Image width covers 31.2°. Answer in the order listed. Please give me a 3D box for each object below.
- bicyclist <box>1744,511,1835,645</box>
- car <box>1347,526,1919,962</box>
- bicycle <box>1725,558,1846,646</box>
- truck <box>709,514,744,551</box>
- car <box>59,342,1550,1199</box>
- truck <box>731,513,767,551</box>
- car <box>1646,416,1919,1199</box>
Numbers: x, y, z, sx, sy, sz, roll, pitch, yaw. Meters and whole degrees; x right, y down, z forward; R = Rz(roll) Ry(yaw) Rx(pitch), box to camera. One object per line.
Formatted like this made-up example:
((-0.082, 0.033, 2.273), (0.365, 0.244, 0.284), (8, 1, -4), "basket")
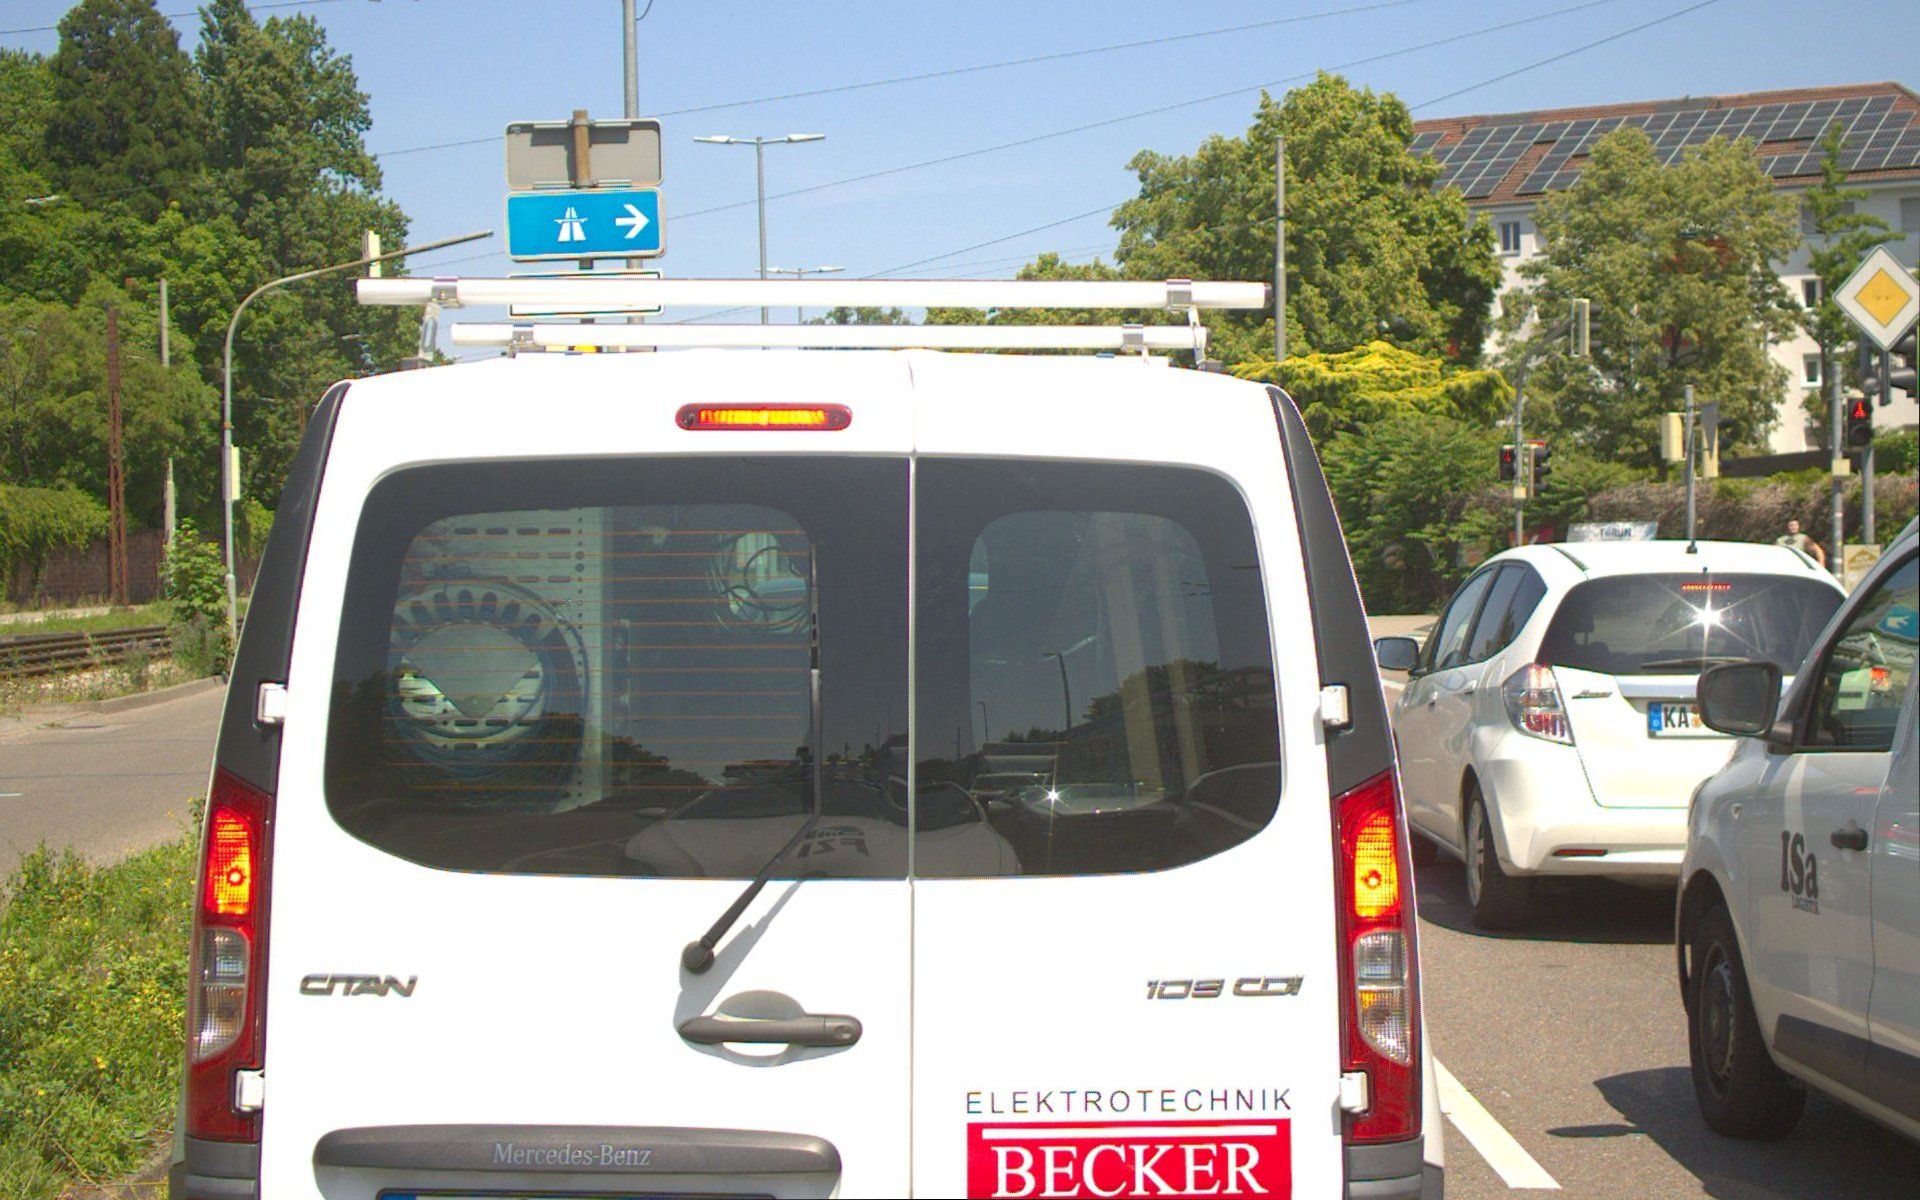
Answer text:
((11.100, -0.298, 45.999), (0.973, 1.782, 0.726), (0, 0, -8), "bicyclist")
((2.821, 0.489, 14.606), (1.835, 1.563, 4.000), (1, 1, -1), "car")
((11.036, 0.015, 46.020), (0.892, 1.155, 1.957), (0, 1, -8), "bicycle")
((-16.753, -4.809, 246.642), (2.139, 2.579, 5.890), (1, 1, -1), "truck")
((-0.217, 0.524, 6.417), (1.821, 1.734, 4.396), (0, 1, -1), "car")
((-14.596, -4.690, 237.827), (2.139, 2.579, 5.890), (1, 1, -1), "truck")
((2.786, 0.526, 7.281), (1.727, 1.782, 4.065), (1, 1, -2), "car")
